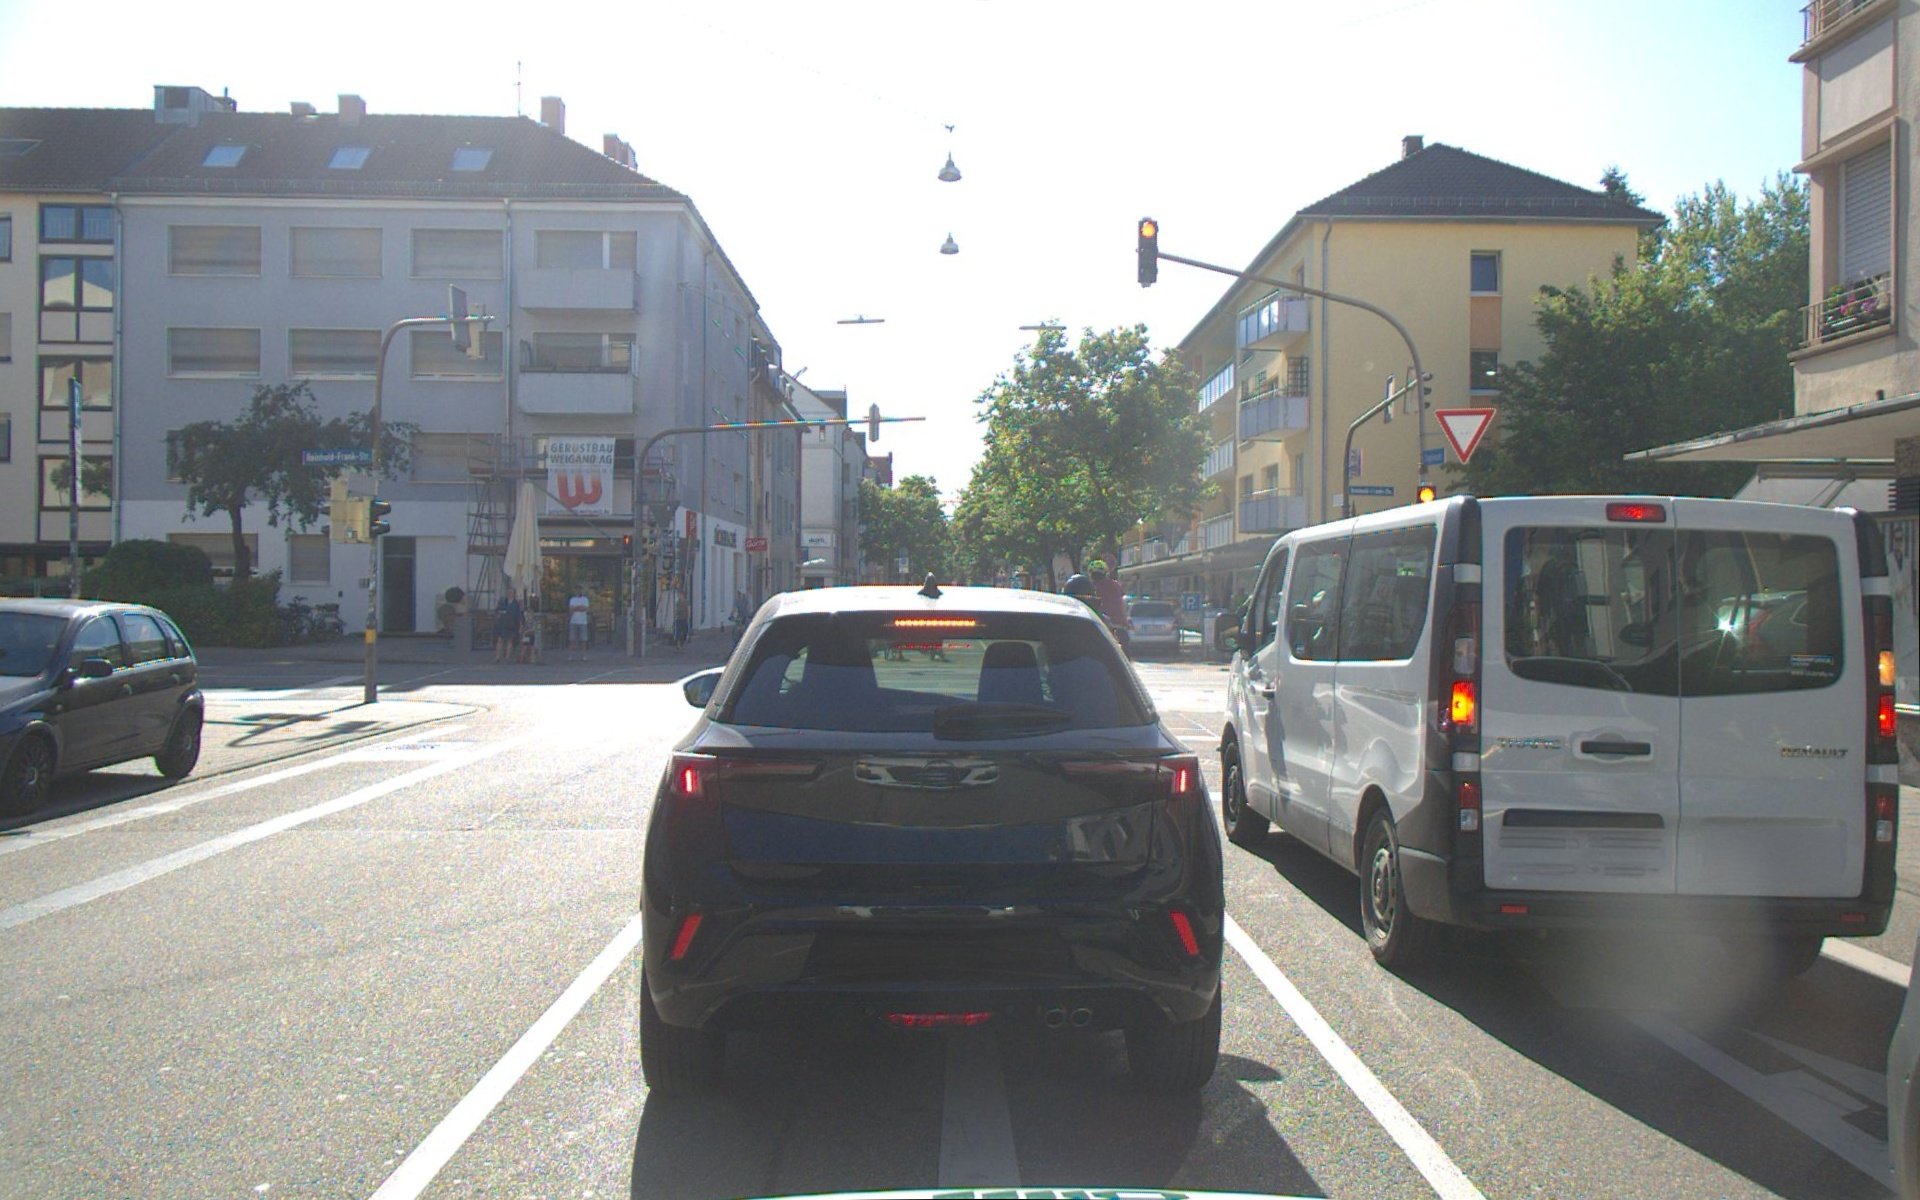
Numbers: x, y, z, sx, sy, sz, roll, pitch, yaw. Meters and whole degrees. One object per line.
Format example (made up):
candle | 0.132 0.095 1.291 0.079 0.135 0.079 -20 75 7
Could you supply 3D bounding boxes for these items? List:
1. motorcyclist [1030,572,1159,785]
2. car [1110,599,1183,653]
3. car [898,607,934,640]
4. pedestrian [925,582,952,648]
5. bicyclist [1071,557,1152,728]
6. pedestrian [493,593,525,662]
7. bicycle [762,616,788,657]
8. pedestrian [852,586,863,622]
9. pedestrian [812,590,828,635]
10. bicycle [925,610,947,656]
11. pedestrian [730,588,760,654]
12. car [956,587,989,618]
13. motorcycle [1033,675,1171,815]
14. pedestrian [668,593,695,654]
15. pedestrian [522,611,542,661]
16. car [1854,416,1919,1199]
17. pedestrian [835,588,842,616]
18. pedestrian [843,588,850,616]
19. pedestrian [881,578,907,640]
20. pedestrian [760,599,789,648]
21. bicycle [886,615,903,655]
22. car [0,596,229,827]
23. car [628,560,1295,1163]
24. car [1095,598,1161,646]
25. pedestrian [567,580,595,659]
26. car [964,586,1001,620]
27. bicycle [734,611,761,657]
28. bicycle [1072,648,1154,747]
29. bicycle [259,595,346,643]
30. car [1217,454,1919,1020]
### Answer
motorcyclist | 0.996 0.565 12.501 0.846 1.528 1.159 0 0 -2
car | 5.301 0.717 47.364 1.601 1.458 3.956 0 0 -1
car | -2.376 1.254 89.901 1.787 1.758 4.000 0 0 1
pedestrian | -0.569 0.389 43.439 0.692 1.731 0.802 0 0 -3
bicyclist | 1.596 0.435 17.611 0.675 1.742 1.413 0 0 -3
pedestrian | -10.160 0.613 37.303 0.573 1.547 0.649 0 0 -4
bicycle | -4.885 0.952 43.820 0.511 1.010 2.338 0 0 -3
pedestrian | -5.022 0.201 80.851 0.478 1.719 0.588 0 0 -1
pedestrian | -5.319 0.471 63.041 0.558 1.719 0.588 0 0 -1
bicycle | -0.627 0.848 43.450 0.511 1.167 2.169 0 0 -3
pedestrian | -5.658 0.544 43.586 0.692 1.707 0.802 0 0 -3
car | 0.720 0.154 97.353 1.863 1.758 4.000 0 0 0
motorcycle | 1.010 1.033 12.210 0.808 0.860 1.884 0 0 -1
pedestrian | -7.181 0.600 42.704 0.605 1.547 0.724 0 0 -4
pedestrian | -9.676 0.803 37.363 0.348 1.111 0.461 0 0 -4
car | 3.007 0.583 1.238 1.799 1.901 4.994 0 0 -3
pedestrian | -7.617 0.129 103.372 0.394 1.704 0.417 0 0 -1
pedestrian | -7.044 0.124 102.973 0.394 1.704 0.417 0 0 -1
pedestrian | -1.751 0.233 43.762 0.666 1.634 0.762 0 0 -3
pedestrian | -4.872 0.611 43.497 0.692 1.275 0.802 0 0 -3
bicycle | -1.758 0.913 44.007 0.434 1.010 2.068 0 0 -3
car | -7.103 0.730 12.426 1.584 1.450 3.709 2 0 -1
car | -0.074 0.674 6.316 1.735 1.557 3.998 0 0 -3
car | 5.252 0.663 51.995 1.601 1.458 3.999 0 0 -1
pedestrian | -8.687 0.443 37.922 0.550 1.806 0.582 1 0 -9
car | 1.162 0.153 87.394 1.863 1.758 4.073 0 0 0
bicycle | -5.620 0.876 43.891 0.511 1.167 2.282 0 0 -3
bicycle | 1.611 1.012 17.756 0.565 0.920 2.300 0 0 -3
bicycle | -16.885 0.481 42.468 2.067 1.193 0.735 0 0 -25
car | 2.738 0.501 8.557 1.953 2.013 4.895 2 0 0
